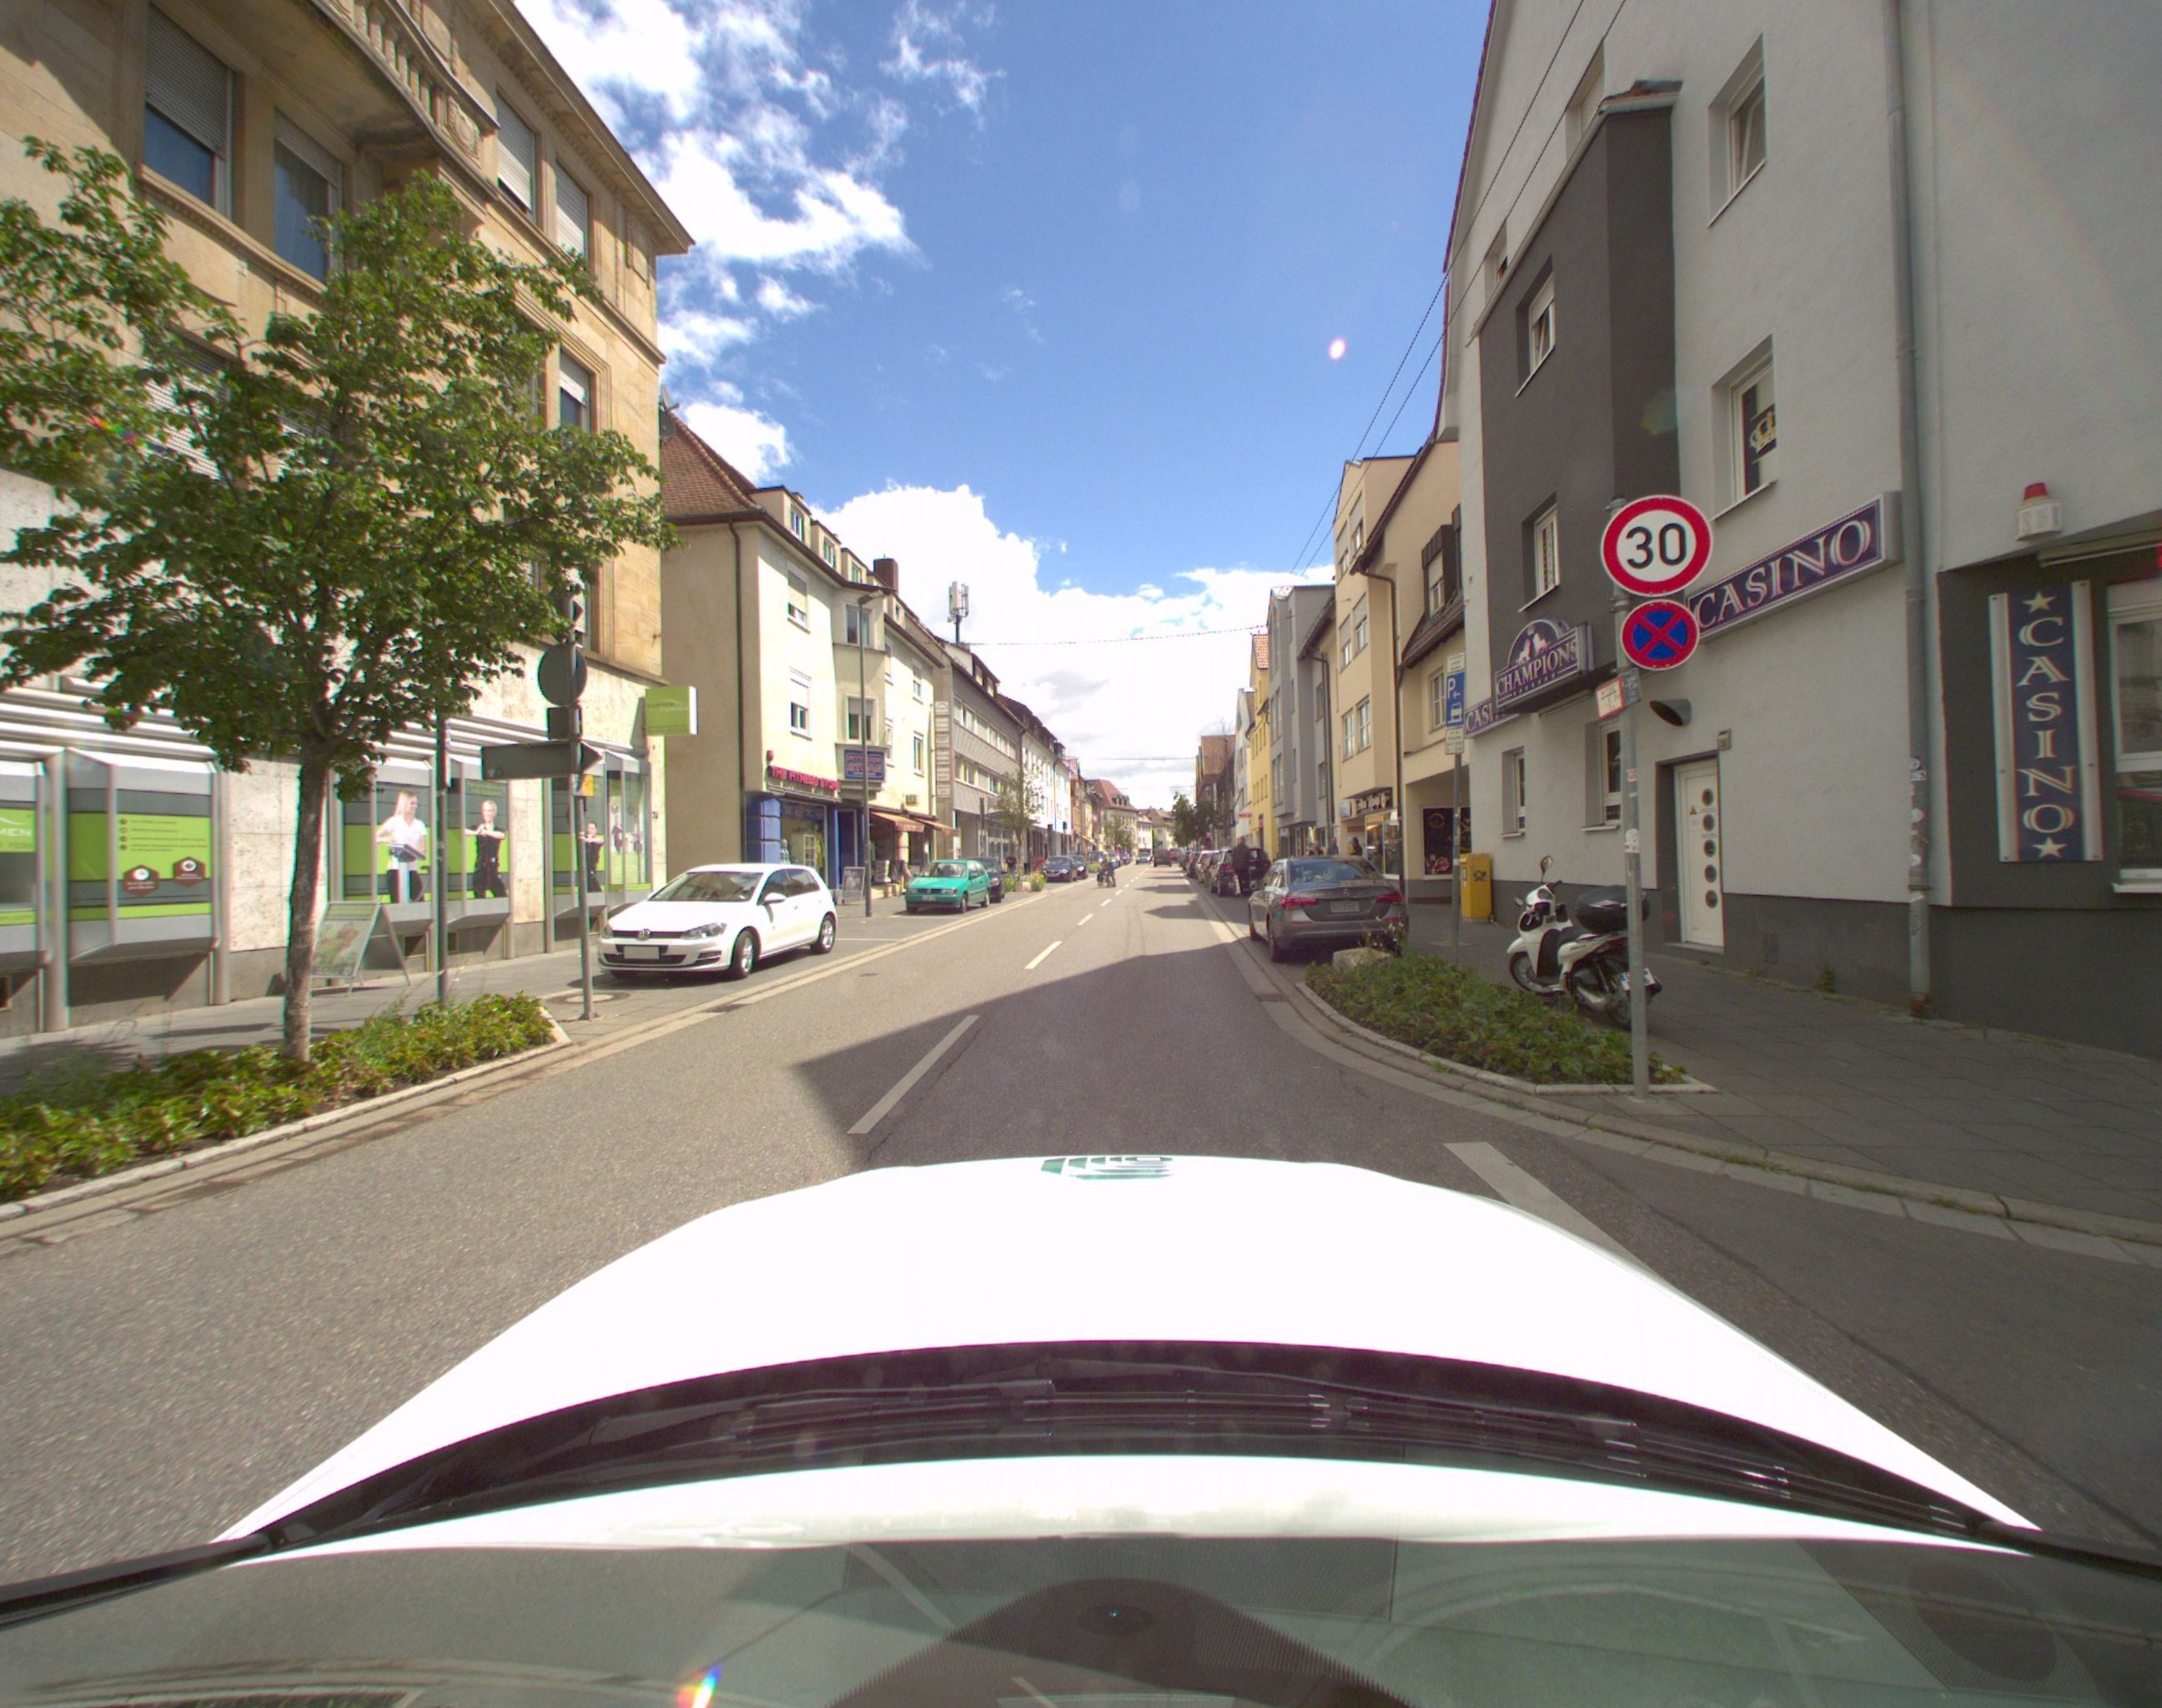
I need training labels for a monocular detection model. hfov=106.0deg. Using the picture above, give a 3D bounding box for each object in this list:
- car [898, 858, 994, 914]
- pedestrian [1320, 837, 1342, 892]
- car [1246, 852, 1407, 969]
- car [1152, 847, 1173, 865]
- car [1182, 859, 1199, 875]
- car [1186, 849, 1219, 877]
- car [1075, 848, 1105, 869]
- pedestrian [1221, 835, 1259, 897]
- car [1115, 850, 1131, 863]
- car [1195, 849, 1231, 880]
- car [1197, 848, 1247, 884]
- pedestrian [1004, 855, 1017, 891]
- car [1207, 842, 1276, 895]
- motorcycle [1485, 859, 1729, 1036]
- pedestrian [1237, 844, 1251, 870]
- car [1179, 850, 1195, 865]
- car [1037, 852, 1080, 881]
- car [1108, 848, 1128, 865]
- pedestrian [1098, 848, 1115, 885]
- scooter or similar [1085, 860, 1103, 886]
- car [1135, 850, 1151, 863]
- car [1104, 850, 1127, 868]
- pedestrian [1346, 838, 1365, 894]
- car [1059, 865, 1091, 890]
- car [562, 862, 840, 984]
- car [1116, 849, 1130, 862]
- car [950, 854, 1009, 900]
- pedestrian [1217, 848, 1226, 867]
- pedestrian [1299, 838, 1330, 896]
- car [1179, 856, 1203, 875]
[{"bbox_3d":[-3.655,0.826,22.649,1.577,1.414,3.676,0,-1,8],"label":"car"},{"bbox_3d":[7.894,0.331,25.695,0.533,1.718,0.607,0,-1,4],"label":"pedestrian"},{"bbox_3d":[3.459,0.714,12.207,1.697,1.420,4.328,0,-1,8],"label":"car"},{"bbox_3d":[8.645,0.258,85.942,2.030,1.848,5.009,0,-1,7],"label":"car"},{"bbox_3d":[11.036,1.332,82.126,1.712,1.577,4.437,0,-1,7],"label":"car"},{"bbox_3d":[7.093,0.488,47.767,1.681,1.472,4.531,0,1,5],"label":"car"},{"bbox_3d":[0.807,0.387,68.661,1.805,1.755,4.680,0,-1,9],"label":"car"},{"bbox_3d":[4.934,0.376,25.340,0.971,1.863,0.865,-3,-1,4],"label":"pedestrian"},{"bbox_3d":[5.317,0.313,102.146,1.790,1.598,4.397,-1,0,6],"label":"car"},{"bbox_3d":[6.942,0.548,43.105,1.681,1.574,3.762,0,-1,6],"label":"car"},{"bbox_3d":[6.420,0.545,37.566,1.682,1.440,4.299,-3,-1,3],"label":"car"},{"bbox_3d":[-3.424,0.928,39.665,0.545,1.757,0.729,0,-1,3],"label":"pedestrian"},{"bbox_3d":[5.381,0.458,27.809,1.791,1.603,4.209,-3,0,5],"label":"car"},{"bbox_3d":[4.367,0.682,7.044,0.656,1.259,2.377,0,-1,2],"label":"motorcycle"},{"bbox_3d":[10.059,0.191,50.189,0.746,1.553,0.727,-2,-1,5],"label":"pedestrian"},{"bbox_3d":[11.450,0.385,87.809,1.712,1.494,4.117,0,-1,7],"label":"car"},{"bbox_3d":[-1.217,0.677,46.004,1.781,1.513,4.720,0,0,6],"label":"car"},{"bbox_3d":[4.084,0.300,89.632,1.806,1.889,4.850,0,-1,7],"label":"car"},{"bbox_3d":[1.128,0.556,35.710,0.728,1.618,0.651,0,-1,1],"label":"pedestrian"},{"bbox_3d":[0.577,0.847,35.694,0.779,1.126,0.630,0,-1,1],"label":"scooter or similar"},{"bbox_3d":[8.150,0.329,106.611,1.895,1.563,4.654,0,-1,6],"label":"car"},{"bbox_3d":[3.483,0.538,81.663,1.806,1.755,4.473,0,-1,7],"label":"car"},{"bbox_3d":[8.522,0.363,25.295,0.434,1.718,0.537,0,-1,3],"label":"pedestrian"},{"bbox_3d":[-0.366,1.471,52.000,1.783,1.503,4.181,0,0,3],"label":"car"},{"bbox_3d":[-5.042,0.825,11.536,1.838,1.398,4.040,0,-1,3],"label":"car"},{"bbox_3d":[5.598,0.191,107.715,1.792,1.604,4.355,-1,0,3],"label":"car"},{"bbox_3d":[-3.354,0.736,27.461,1.592,1.446,3.555,0,-1,-1],"label":"car"},{"bbox_3d":[12.604,0.307,72.974,0.737,1.737,0.758,0,-1,6],"label":"pedestrian"},{"bbox_3d":[6.962,0.389,24.302,0.740,1.718,0.656,-1,-1,4],"label":"pedestrian"},{"bbox_3d":[9.129,0.960,67.751,1.713,1.577,4.114,0,-1,5],"label":"car"}]
